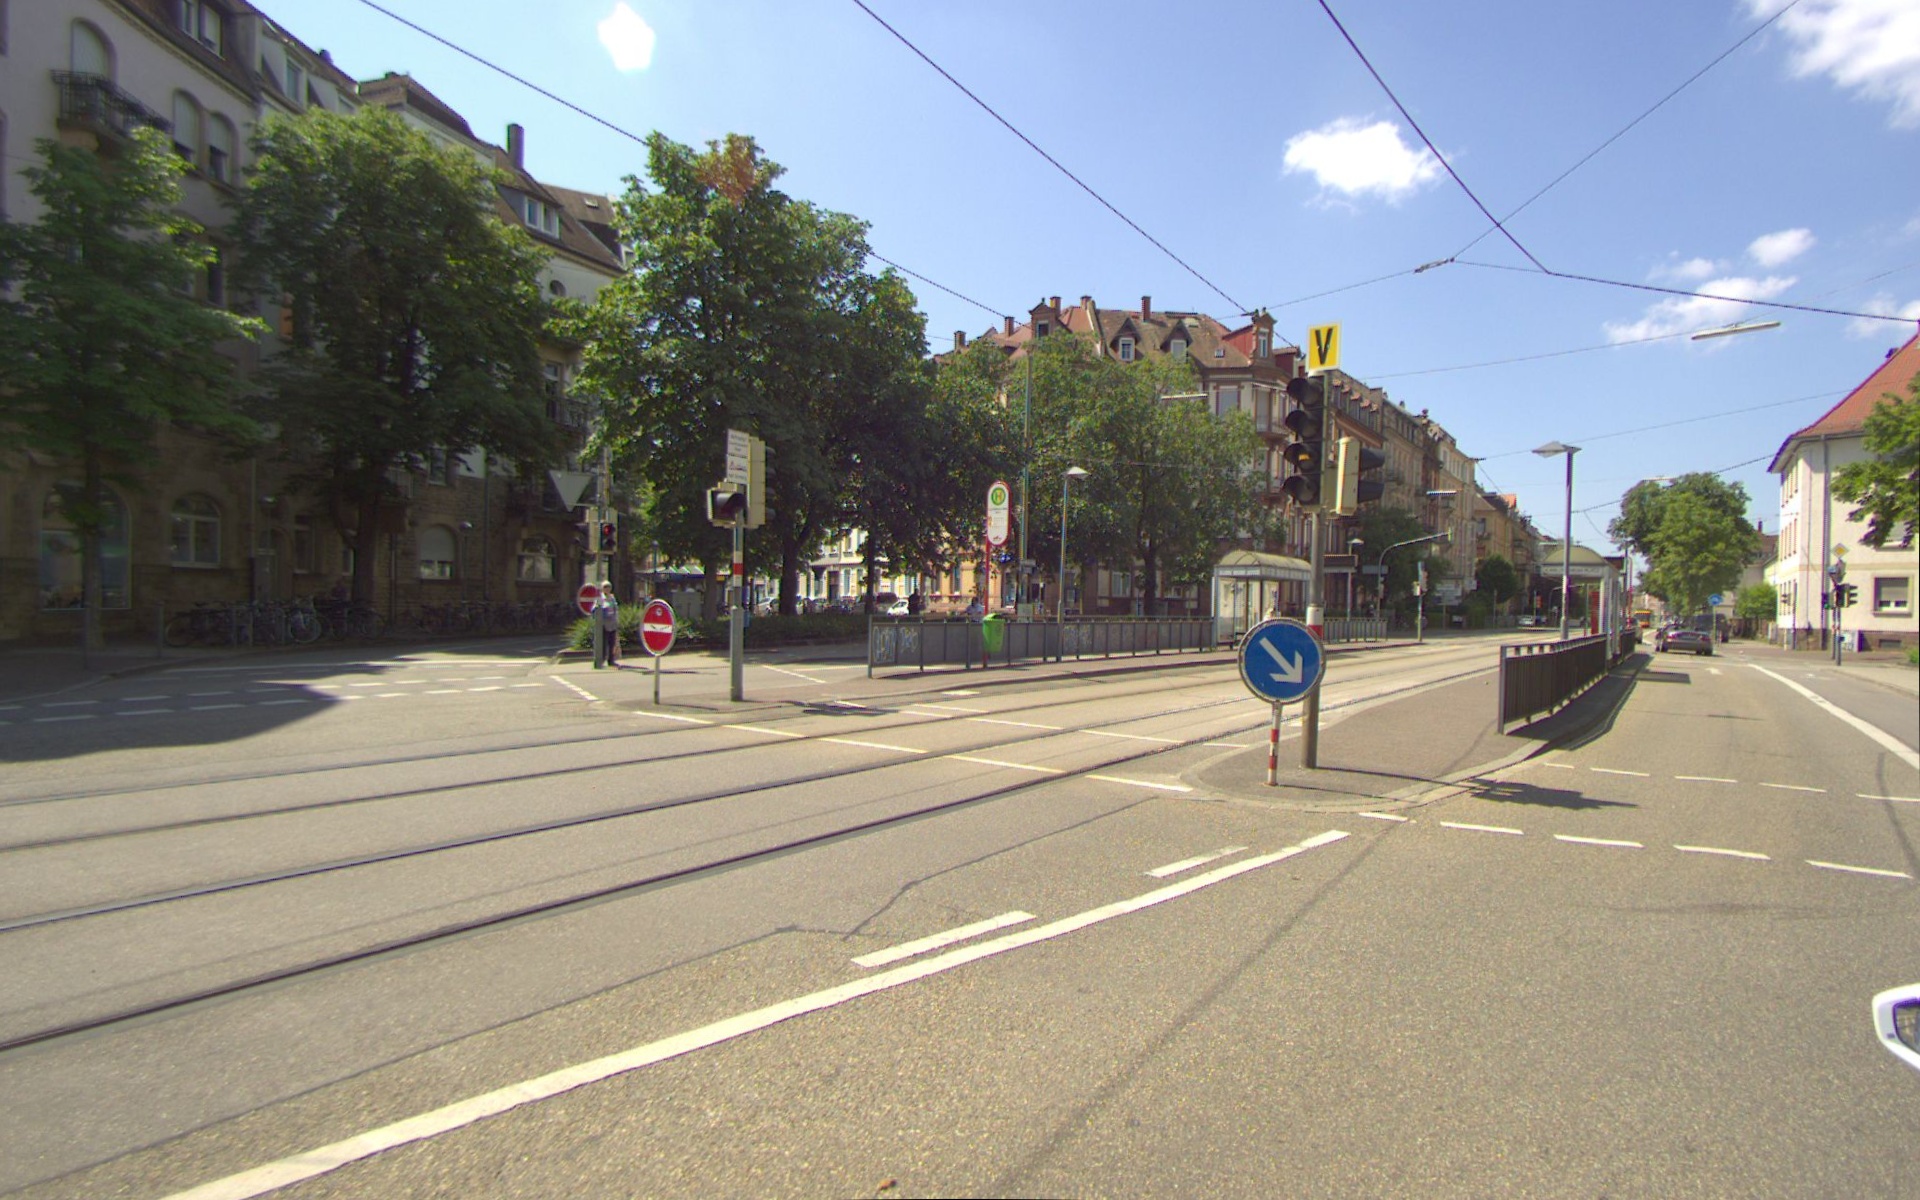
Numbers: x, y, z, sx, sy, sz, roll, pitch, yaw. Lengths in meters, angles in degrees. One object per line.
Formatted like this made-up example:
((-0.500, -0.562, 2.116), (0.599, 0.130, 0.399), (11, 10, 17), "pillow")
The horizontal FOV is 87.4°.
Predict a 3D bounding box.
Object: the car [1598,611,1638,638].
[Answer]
((39.310, 1.448, 60.080), (1.666, 1.534, 3.815), (2, 0, 28), "car")

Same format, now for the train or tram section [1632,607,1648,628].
((121.615, 3.134, 179.709), (2.161, 3.529, 8.815), (1, 0, 35), "train or tram section")

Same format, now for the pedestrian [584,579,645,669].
((-6.919, 0.470, 20.151), (0.823, 1.746, 0.919), (1, 0, 6), "pedestrian")

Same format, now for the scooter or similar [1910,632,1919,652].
((41.717, 1.831, 43.107), (1.293, 0.848, 0.525), (1, 0, 31), "scooter or similar")

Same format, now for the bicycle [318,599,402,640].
((-16.089, 0.522, 26.958), (1.824, 1.046, 0.543), (1, 0, -14), "bicycle")

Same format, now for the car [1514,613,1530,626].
((76.545, 2.677, 136.855), (1.760, 1.607, 3.995), (3, 0, 27), "car")

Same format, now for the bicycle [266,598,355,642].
((-16.350, 0.506, 25.314), (1.820, 1.046, 0.544), (1, 0, -5), "bicycle")

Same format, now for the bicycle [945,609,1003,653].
((0.389, 0.814, 26.711), (0.719, 1.116, 1.710), (1, 0, 34), "bicycle")

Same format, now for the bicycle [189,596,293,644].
((-16.379, 0.455, 22.922), (1.828, 1.046, 0.542), (1, 0, -21), "bicycle")

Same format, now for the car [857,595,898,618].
((-5.835, 0.436, 70.676), (1.664, 1.491, 3.444), (1, 0, -29), "car")

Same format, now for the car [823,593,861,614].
((-8.972, 0.266, 76.195), (1.664, 1.491, 3.444), (1, 0, -29), "car")

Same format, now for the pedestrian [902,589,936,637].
((-1.669, 0.531, 40.945), (1.006, 1.893, 0.994), (1, 0, -33), "pedestrian")

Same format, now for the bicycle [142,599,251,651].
((-15.870, 0.525, 20.918), (1.706, 1.046, 0.542), (1, 0, -21), "bicycle")

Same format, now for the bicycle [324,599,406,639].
((-16.281, 0.515, 27.526), (1.824, 1.046, 0.543), (1, 0, -14), "bicycle")

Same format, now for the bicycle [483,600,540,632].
((-15.321, 0.538, 34.331), (1.818, 1.046, 0.544), (1, 0, 15), "bicycle")

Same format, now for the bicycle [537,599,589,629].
((-14.879, 0.523, 37.615), (1.818, 1.046, 0.545), (1, 0, 14), "bicycle")

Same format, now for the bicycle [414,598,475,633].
((-16.407, 0.494, 31.964), (1.818, 1.046, 0.544), (1, 0, 15), "bicycle")

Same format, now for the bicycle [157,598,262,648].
((-16.078, 0.497, 21.562), (1.706, 1.046, 0.542), (1, 0, -21), "bicycle")

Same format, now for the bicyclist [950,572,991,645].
((0.284, 0.218, 26.542), (0.713, 1.895, 0.822), (1, 0, 38), "bicyclist")

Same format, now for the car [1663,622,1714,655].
((31.898, 1.655, 44.028), (1.668, 1.341, 3.809), (2, 0, 34), "car")

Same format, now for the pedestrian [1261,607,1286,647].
((9.912, 0.848, 31.730), (0.605, 1.259, 0.626), (1, 0, 30), "pedestrian")

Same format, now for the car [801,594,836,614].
((-11.368, 0.305, 80.446), (1.664, 1.491, 3.444), (1, 0, -29), "car")

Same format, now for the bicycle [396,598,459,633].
((-16.580, 0.475, 31.262), (1.818, 1.046, 0.544), (1, 0, 15), "bicycle")

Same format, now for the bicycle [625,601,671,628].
((-13.061, 0.599, 42.084), (1.818, 1.046, 0.545), (1, 0, 14), "bicycle")

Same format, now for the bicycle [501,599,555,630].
((-15.501, 0.524, 36.048), (1.818, 1.046, 0.545), (1, 0, 14), "bicycle")

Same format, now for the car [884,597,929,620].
((-3.591, 0.561, 67.356), (1.664, 1.491, 3.444), (1, 0, -29), "car")

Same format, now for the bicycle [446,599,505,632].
((-15.884, 0.501, 32.951), (1.818, 1.046, 0.544), (1, 0, 15), "bicycle")

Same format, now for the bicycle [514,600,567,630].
((-15.310, 0.530, 36.644), (1.818, 1.046, 0.545), (1, 0, 14), "bicycle")

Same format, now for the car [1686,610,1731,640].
((48.312, 1.585, 64.907), (1.965, 1.873, 3.990), (1, 0, 32), "car")

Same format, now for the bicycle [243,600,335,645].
((-16.324, 0.539, 24.447), (1.820, 1.046, 0.544), (1, 0, -3), "bicycle")

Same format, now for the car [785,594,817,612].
((-13.687, 0.249, 86.176), (1.664, 1.491, 3.444), (1, 0, -29), "car")

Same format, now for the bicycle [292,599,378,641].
((-16.155, 0.513, 25.985), (1.821, 1.046, 0.544), (1, 0, -7), "bicycle")
